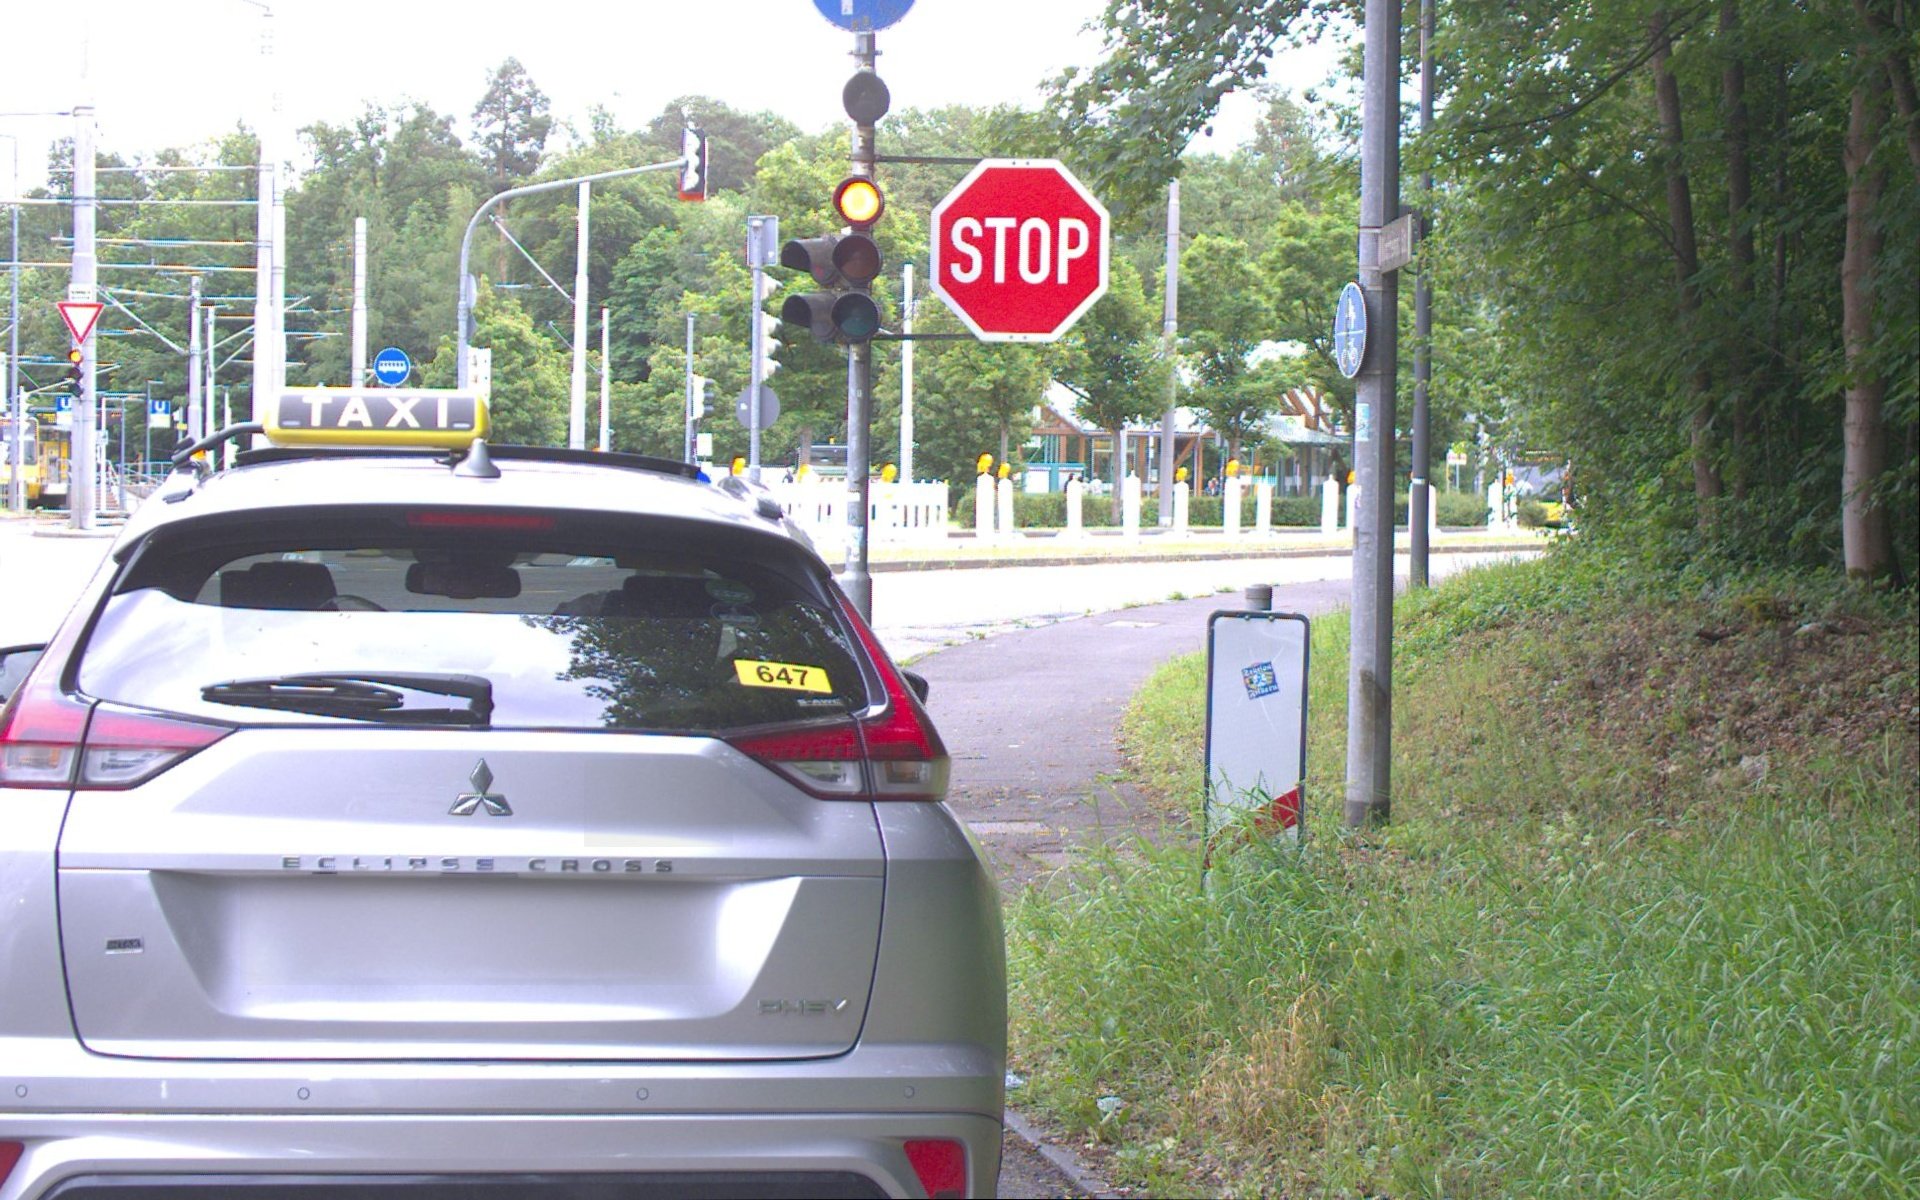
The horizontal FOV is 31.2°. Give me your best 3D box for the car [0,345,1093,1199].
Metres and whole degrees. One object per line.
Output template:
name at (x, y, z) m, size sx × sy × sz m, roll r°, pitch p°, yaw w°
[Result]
car at (-1.005, 0.469, 6.836) m, size 1.773 × 1.742 × 3.782 m, roll 2°, pitch 2°, yaw -9°
